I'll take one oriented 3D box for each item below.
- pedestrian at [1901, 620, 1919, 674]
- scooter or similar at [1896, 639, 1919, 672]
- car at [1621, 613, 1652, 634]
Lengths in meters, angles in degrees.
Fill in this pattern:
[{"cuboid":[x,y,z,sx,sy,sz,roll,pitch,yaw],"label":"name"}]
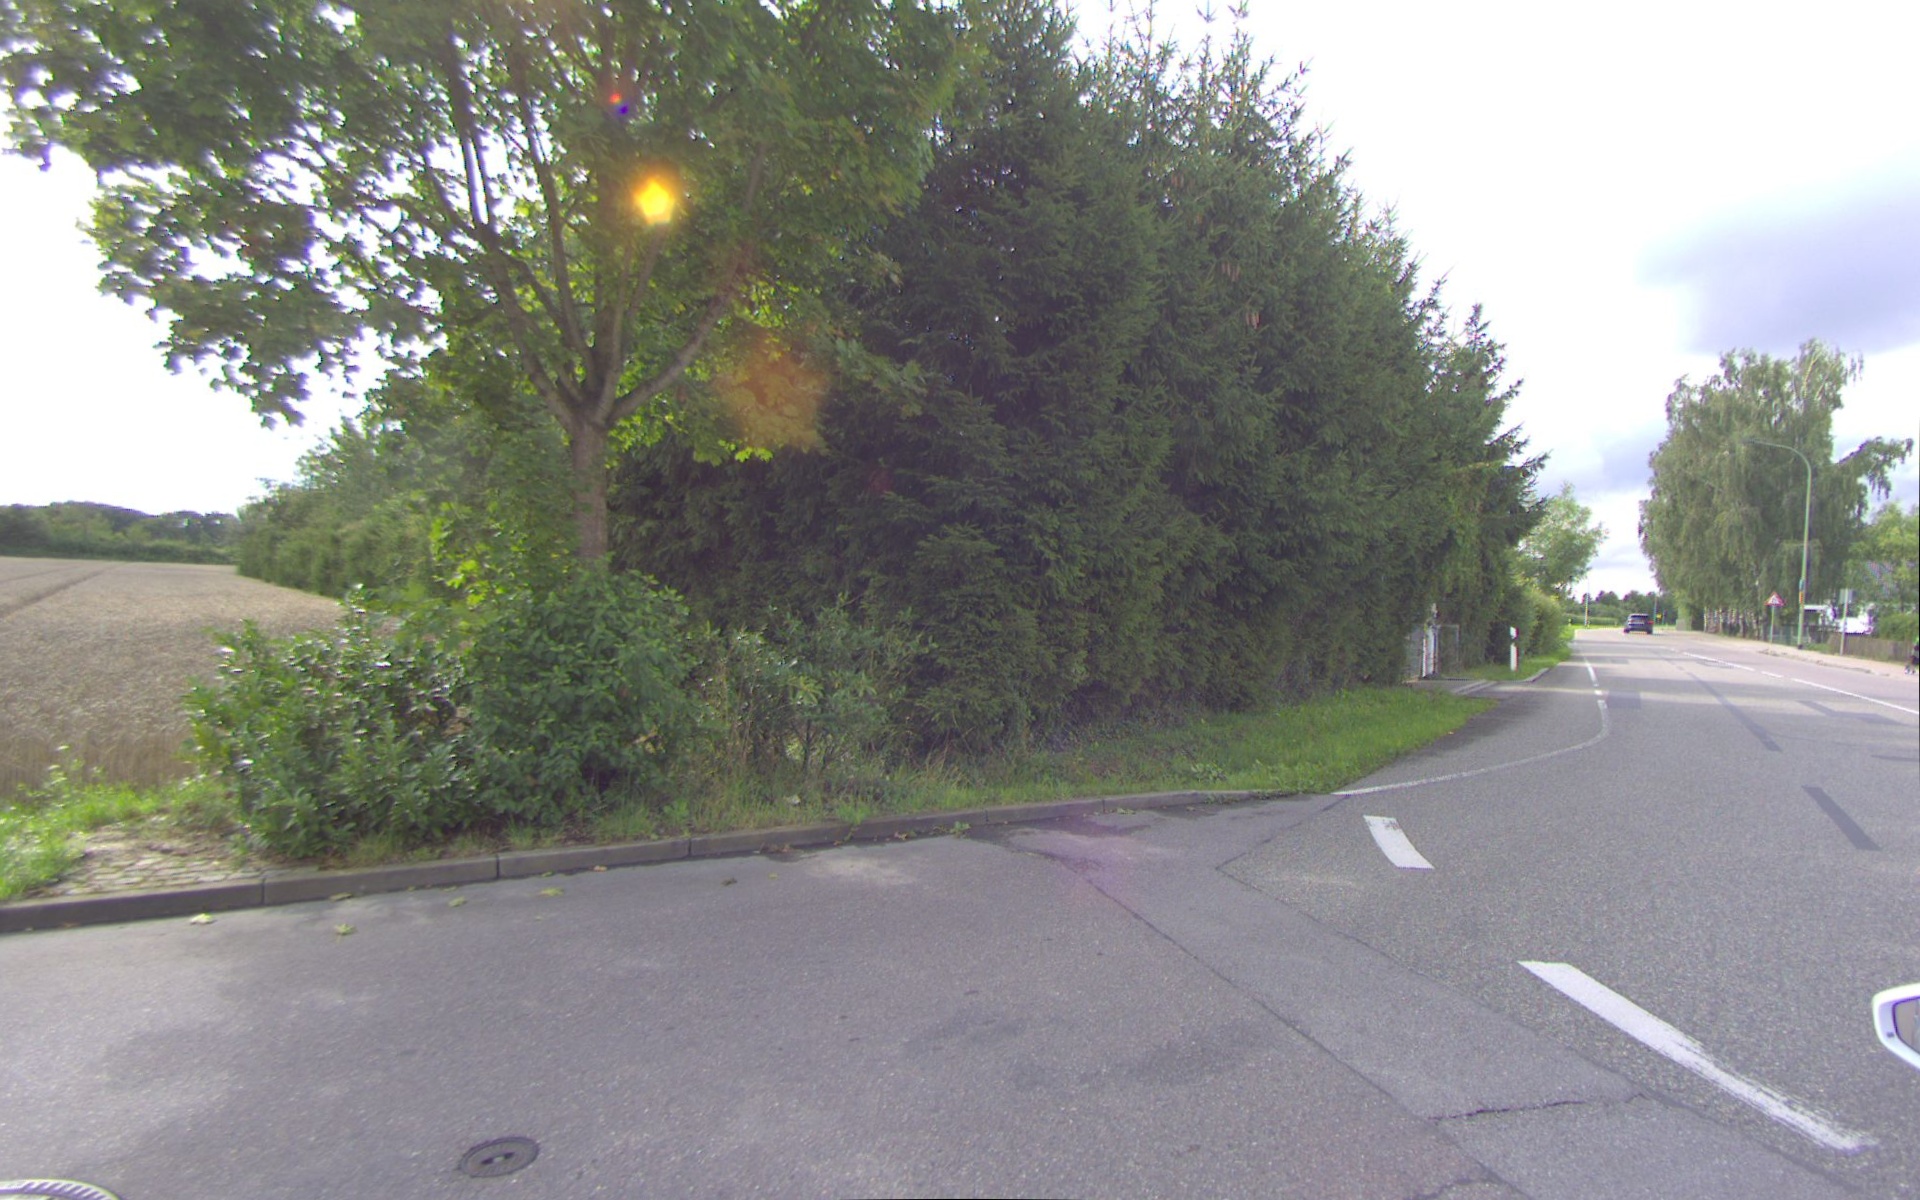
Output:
[{"cuboid":[30.565,1.518,31.800,0.777,1.687,0.711,7,4,28],"label":"pedestrian"},{"cuboid":[30.824,1.804,32.446,0.621,0.960,0.621,8,4,28],"label":"scooter or similar"},{"cuboid":[54.798,1.892,81.369,1.967,1.573,3.988,4,2,34],"label":"car"}]
